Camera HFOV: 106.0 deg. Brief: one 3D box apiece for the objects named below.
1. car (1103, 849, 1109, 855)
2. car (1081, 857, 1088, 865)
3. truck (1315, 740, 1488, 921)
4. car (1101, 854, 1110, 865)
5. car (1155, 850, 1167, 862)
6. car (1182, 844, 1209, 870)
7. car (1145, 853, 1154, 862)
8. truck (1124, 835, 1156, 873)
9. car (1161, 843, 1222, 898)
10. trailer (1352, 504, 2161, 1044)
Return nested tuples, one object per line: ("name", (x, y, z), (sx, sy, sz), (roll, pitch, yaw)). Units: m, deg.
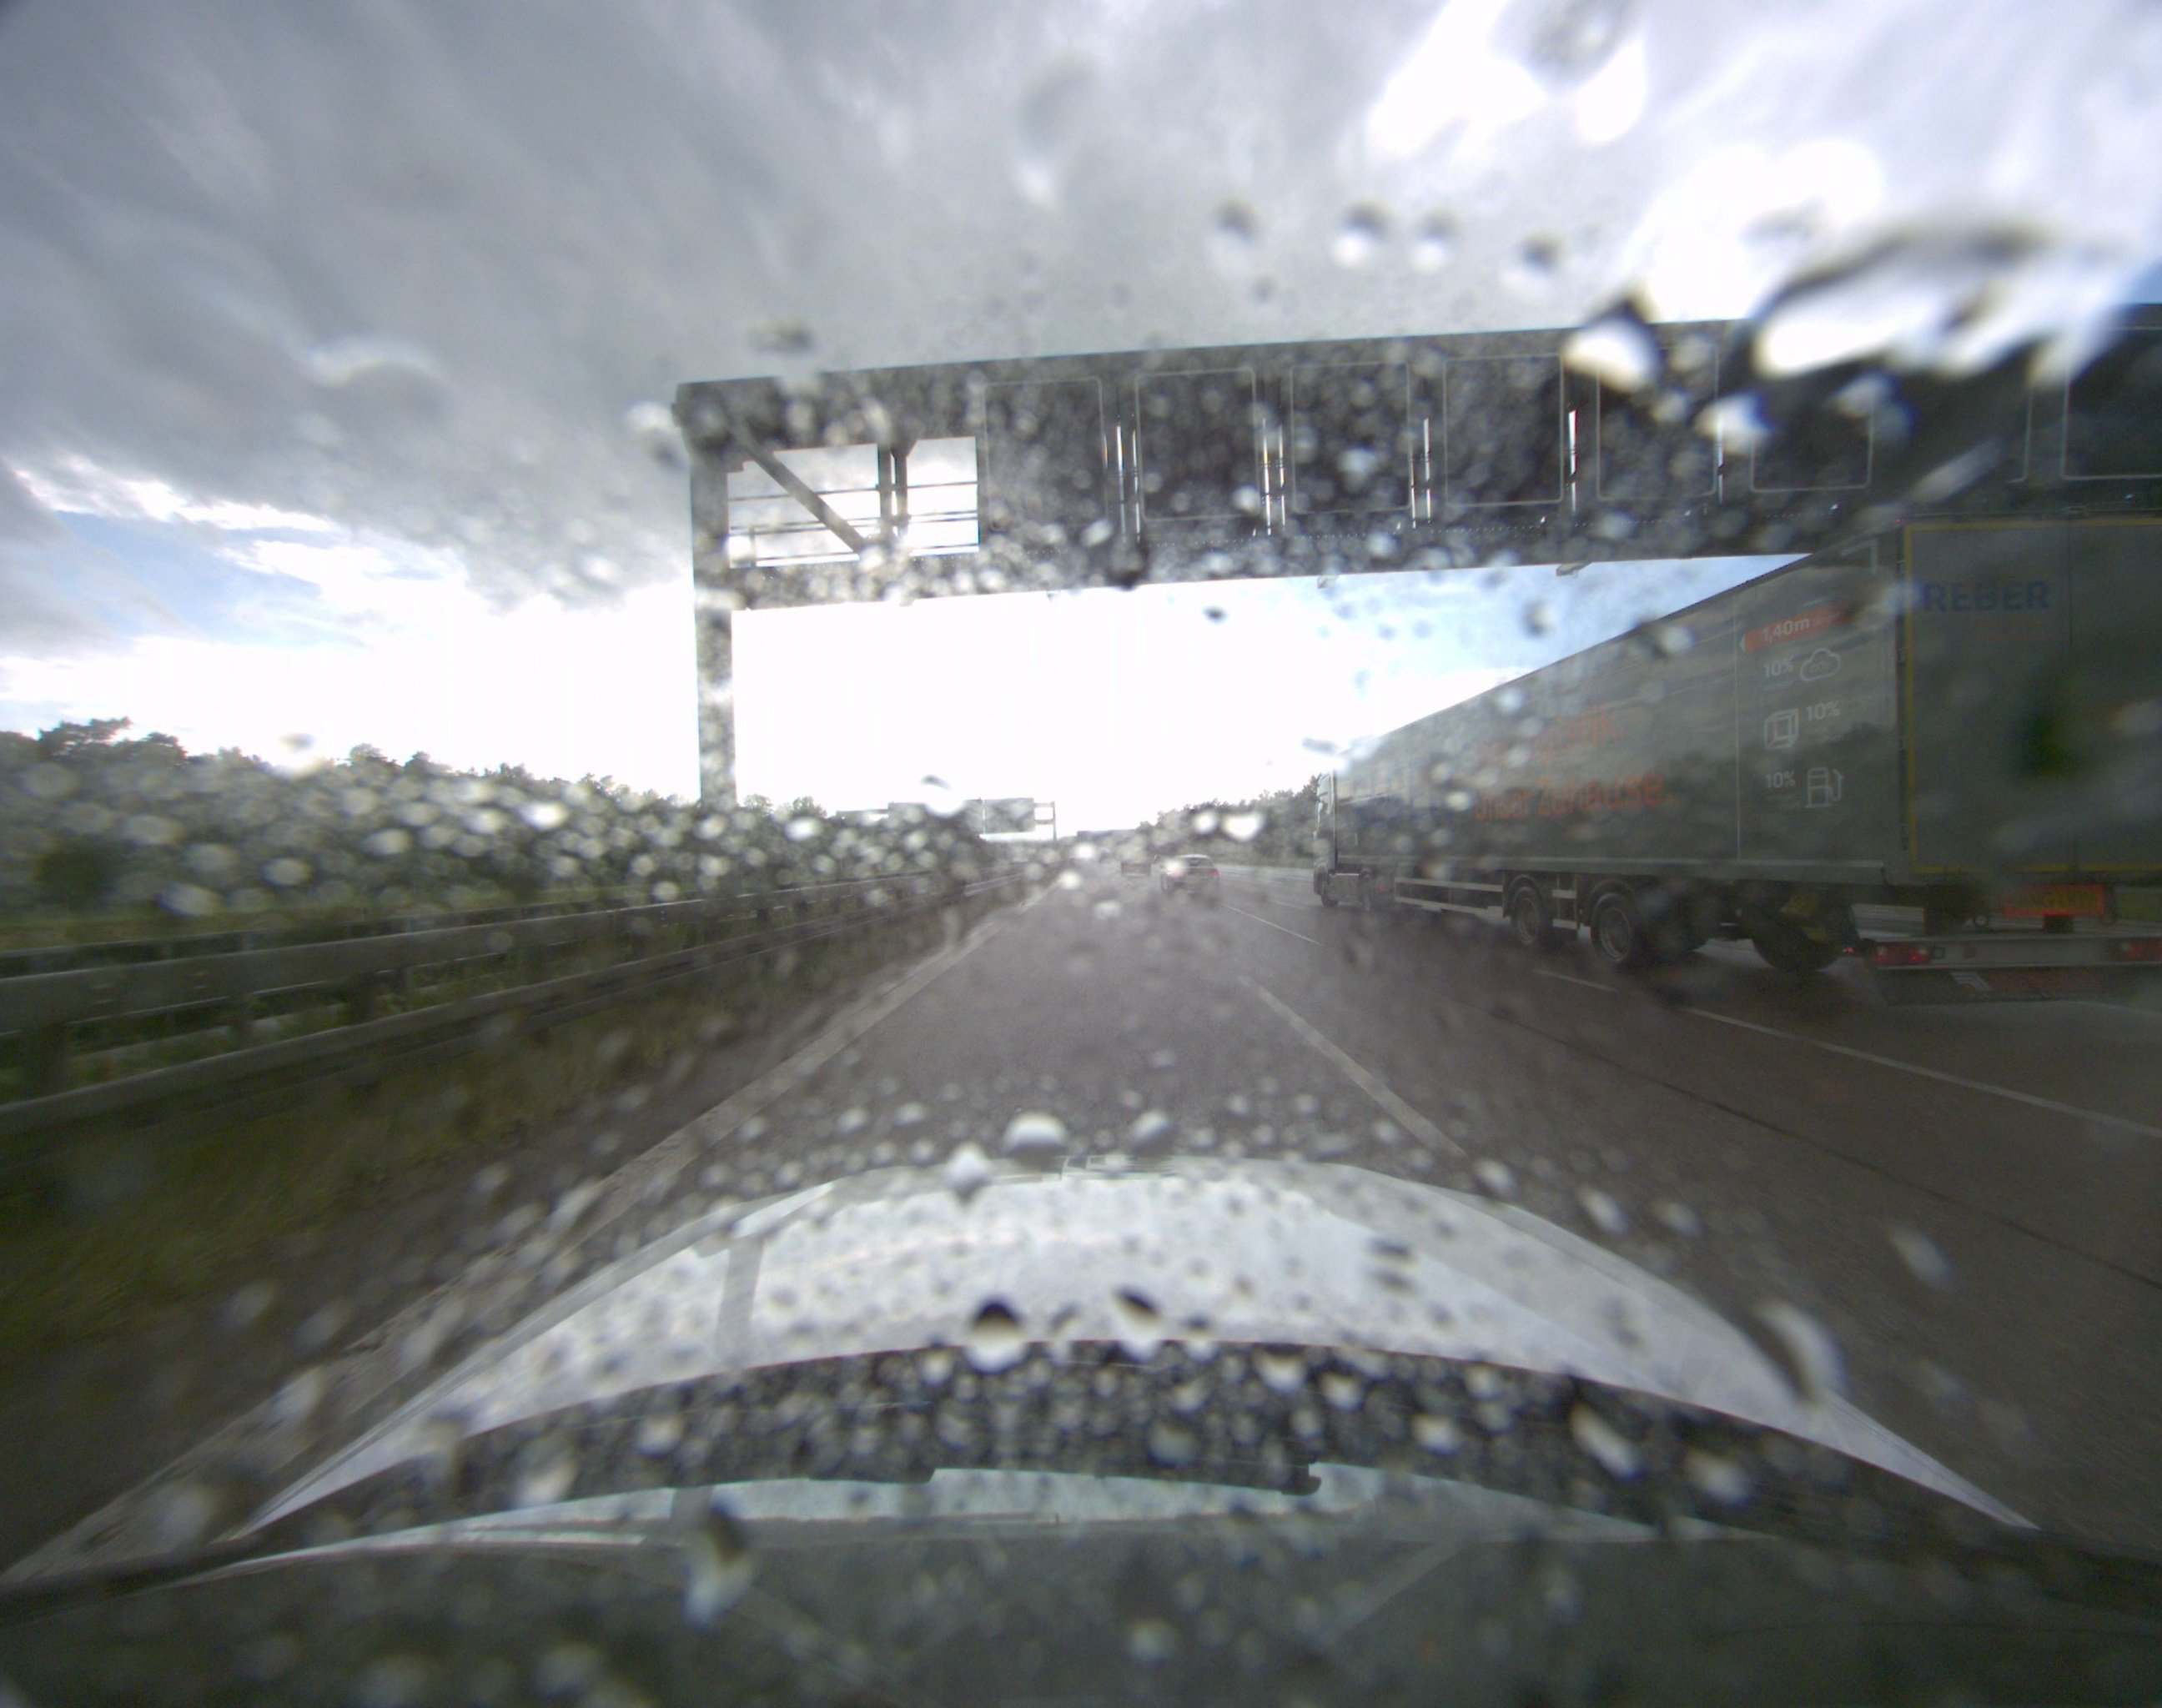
("car", (7.721, -0.649, 252.622), (1.986, 2.013, 4.002), (0, 0, 2))
("car", (0.850, 1.759, 211.408), (1.611, 2.013, 4.002), (0, 0, 2))
("truck", (7.708, -0.501, 20.299), (2.285, 3.868, 5.394), (-1, 0, 2))
("car", (4.563, 0.934, 151.271), (1.668, 2.013, 4.002), (0, 0, 2))
("car", (13.501, 0.399, 137.675), (1.984, 2.013, 4.006), (0, 0, 5))
("car", (9.064, 0.216, 64.799), (1.899, 2.013, 4.006), (-1, 0, 5))
("car", (13.955, 0.712, 166.115), (1.734, 1.688, 4.002), (-1, 0, 2))
("truck", (4.136, -0.024, 56.888), (2.127, 2.489, 5.319), (-1, 0, 4))
("car", (4.092, 0.550, 30.700), (2.067, 1.885, 5.020), (-1, 0, 6))
("trailer", (7.460, -0.591, 12.798), (2.315, 4.001, 13.418), (-1, 0, 2))
